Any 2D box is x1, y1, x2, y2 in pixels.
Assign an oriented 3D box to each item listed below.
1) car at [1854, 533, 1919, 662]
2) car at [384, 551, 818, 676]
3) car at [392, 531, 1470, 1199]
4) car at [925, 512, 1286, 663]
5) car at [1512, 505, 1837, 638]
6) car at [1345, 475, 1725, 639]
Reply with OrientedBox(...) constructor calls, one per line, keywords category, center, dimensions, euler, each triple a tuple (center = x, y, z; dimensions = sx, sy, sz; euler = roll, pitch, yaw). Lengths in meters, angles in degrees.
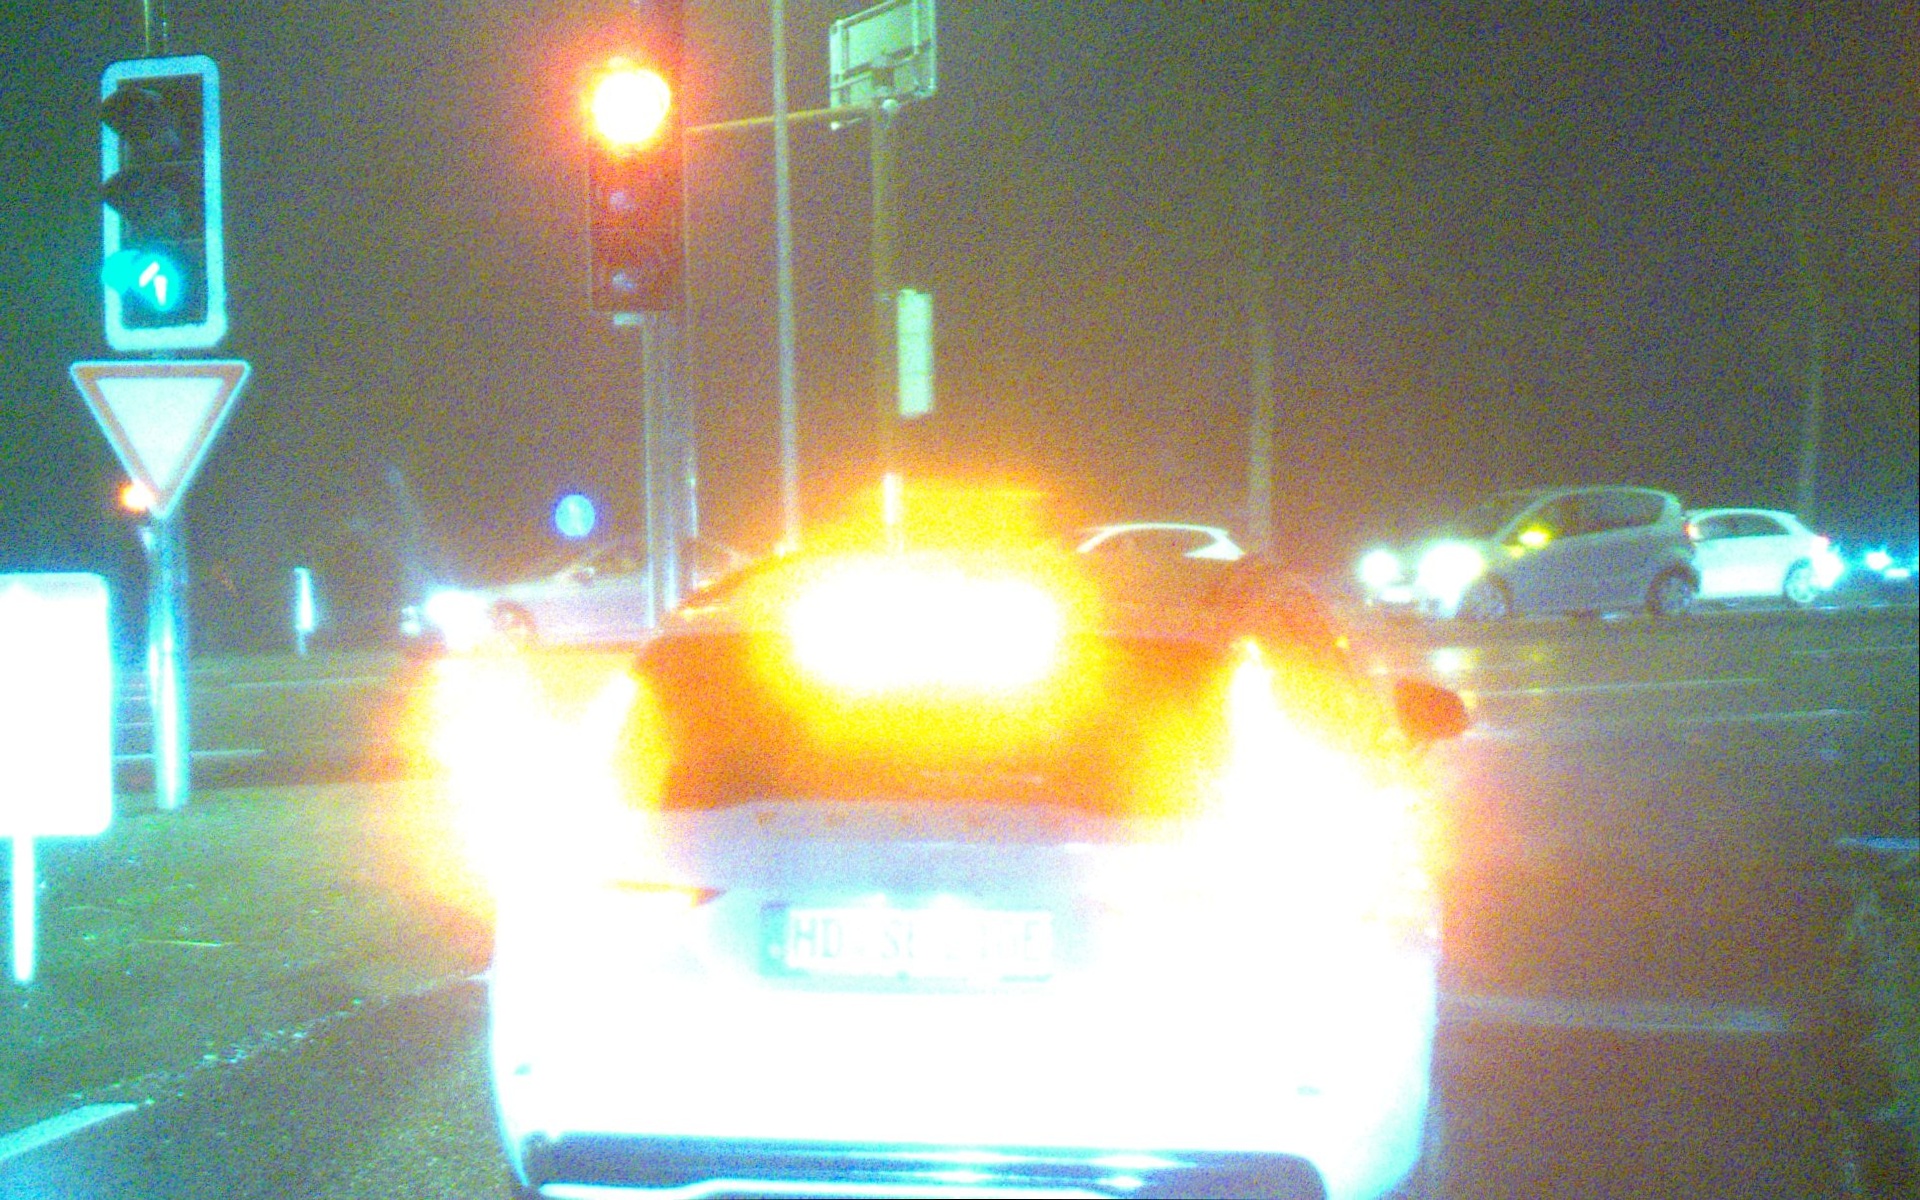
OrientedBox(category="car", center=(15.367, -0.040, 50.661), dimensions=(4.110, 1.842, 1.766), euler=(0, 0, -27))
OrientedBox(category="car", center=(-4.238, 0.147, 40.738), dimensions=(4.786, 1.422, 1.766), euler=(0, 0, -26))
OrientedBox(category="car", center=(0.240, 0.589, 7.943), dimensions=(1.797, 1.447, 4.267), euler=(0, 2, 9))
OrientedBox(category="car", center=(1.861, -0.158, 43.729), dimensions=(4.270, 1.842, 1.766), euler=(0, 0, -27))
OrientedBox(category="car", center=(9.985, -0.388, 48.000), dimensions=(4.236, 1.793, 1.804), euler=(0, 0, -27))
OrientedBox(category="car", center=(6.490, -0.513, 38.799), dimensions=(3.888, 1.719, 1.766), euler=(-2, 2, -25))
